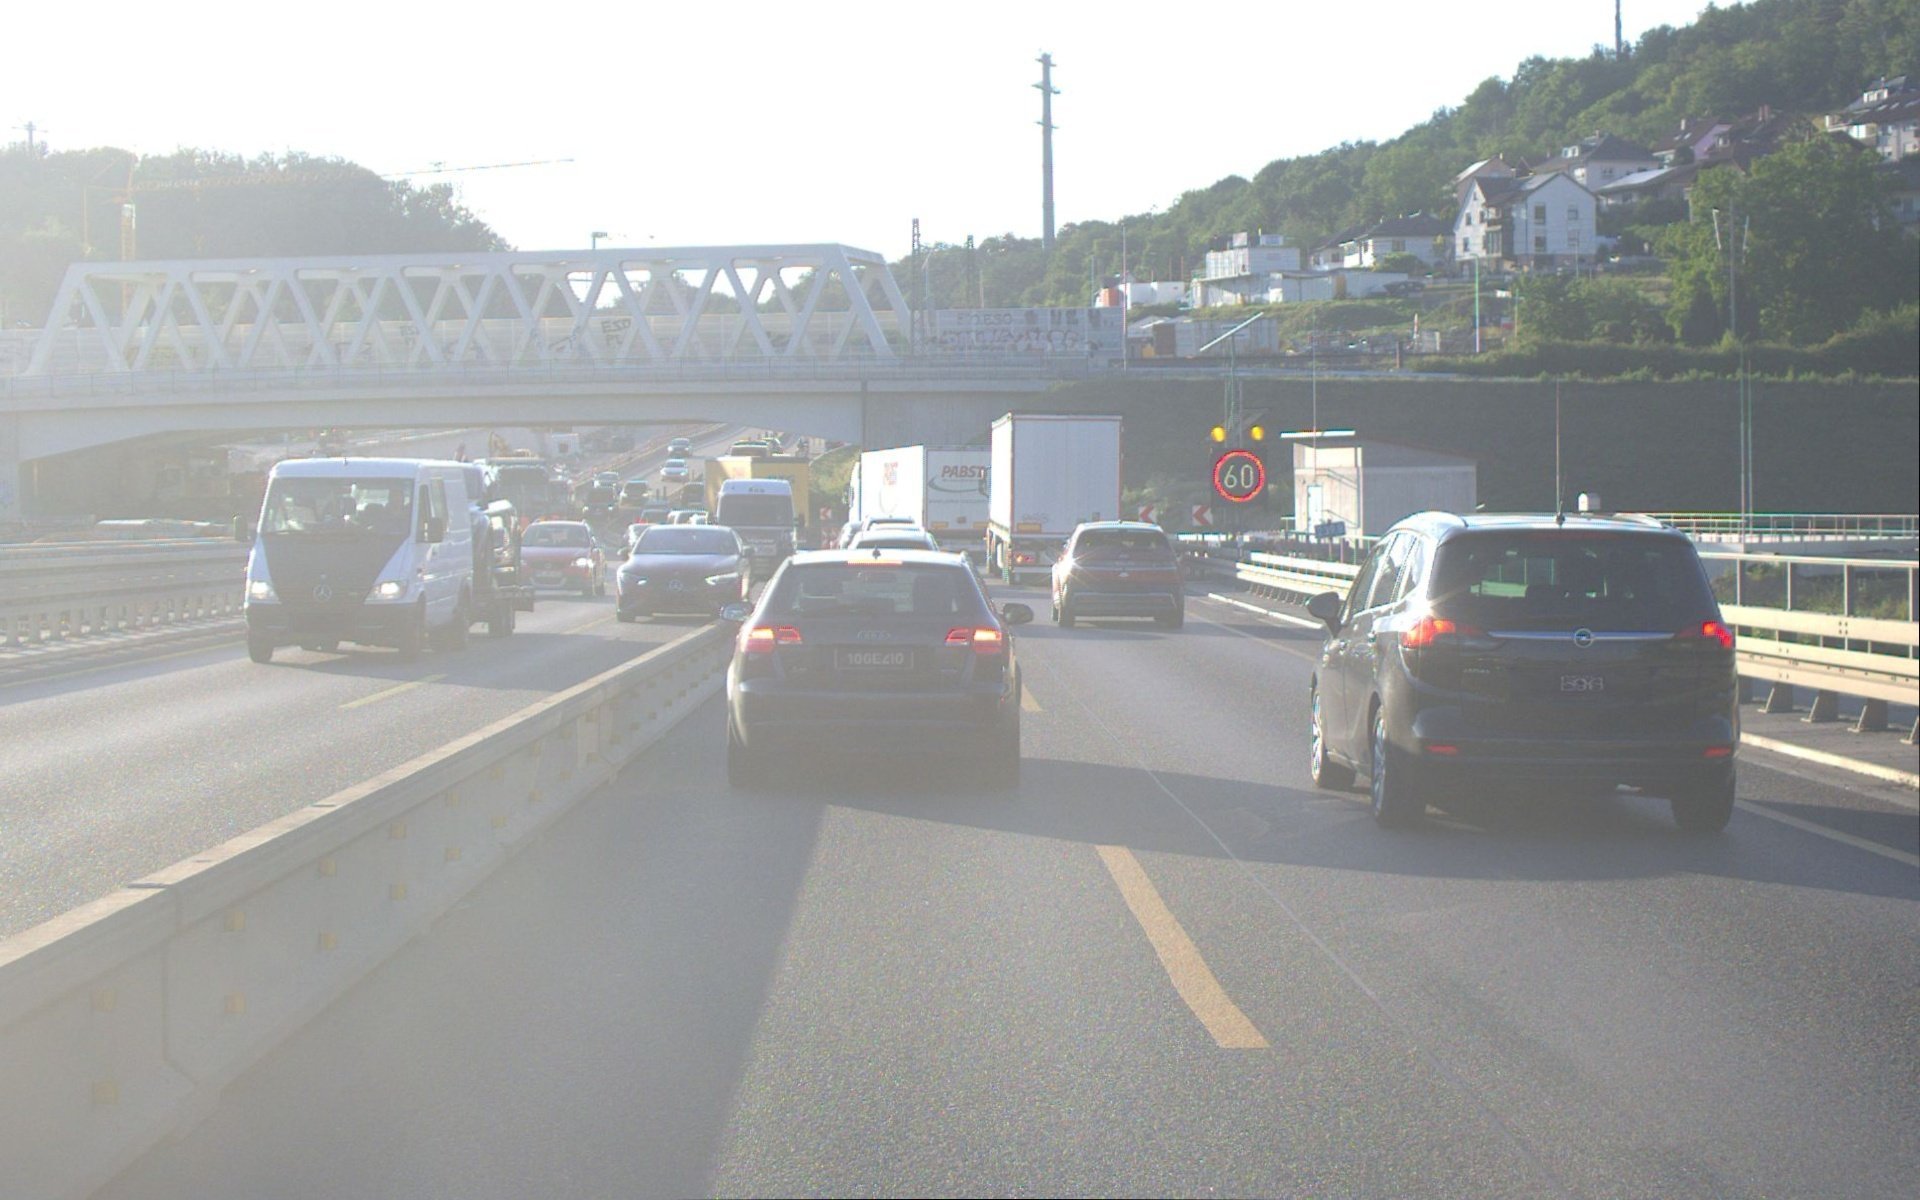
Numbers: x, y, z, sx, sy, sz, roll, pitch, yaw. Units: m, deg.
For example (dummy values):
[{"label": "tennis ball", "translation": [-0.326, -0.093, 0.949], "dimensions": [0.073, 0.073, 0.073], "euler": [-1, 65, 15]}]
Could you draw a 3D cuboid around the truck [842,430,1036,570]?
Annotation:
[{"label": "truck", "translation": [-0.944, -3.459, 119.651], "dimensions": [3.889, 4.483, 15.272], "euler": [1, 1, -11]}]

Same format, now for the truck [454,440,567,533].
[{"label": "truck", "translation": [-19.498, -4.907, 148.496], "dimensions": [2.930, 3.877, 10.267], "euler": [0, 2, -18]}]

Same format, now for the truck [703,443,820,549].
[{"label": "truck", "translation": [-9.155, -4.829, 156.400], "dimensions": [3.889, 4.482, 13.853], "euler": [1, 3, -9]}]

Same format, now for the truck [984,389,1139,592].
[{"label": "truck", "translation": [2.368, -2.642, 84.920], "dimensions": [3.385, 4.483, 15.267], "euler": [1, 1, 1]}]

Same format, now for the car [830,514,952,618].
[{"label": "car", "translation": [-1.095, -0.551, 52.869], "dimensions": [1.765, 1.481, 4.001], "euler": [2, 2, -2]}]

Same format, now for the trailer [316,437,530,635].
[{"label": "trailer", "translation": [-6.981, -0.867, 45.196], "dimensions": [2.076, 2.412, 5.219], "euler": [1, 2, -1]}]

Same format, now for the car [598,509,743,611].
[{"label": "car", "translation": [-4.567, -0.675, 54.918], "dimensions": [1.993, 1.525, 5.782], "euler": [1, 1, -2]}]

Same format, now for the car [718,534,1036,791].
[{"label": "car", "translation": [-0.529, 0.316, 21.410], "dimensions": [1.770, 1.385, 4.001], "euler": [1, 2, -2]}]

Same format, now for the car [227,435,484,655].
[{"label": "car", "translation": [-6.855, -0.665, 39.621], "dimensions": [1.993, 2.315, 5.935], "euler": [1, 1, -1]}]

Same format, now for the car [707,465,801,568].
[{"label": "car", "translation": [-5.123, -2.098, 86.193], "dimensions": [2.073, 2.449, 6.267], "euler": [1, 2, -1]}]

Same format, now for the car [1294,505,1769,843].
[{"label": "car", "translation": [3.009, 0.302, 19.009], "dimensions": [1.814, 1.626, 4.412], "euler": [1, 2, -1]}]

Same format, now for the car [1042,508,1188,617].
[{"label": "car", "translation": [2.357, -0.606, 53.129], "dimensions": [1.769, 1.547, 4.001], "euler": [2, 2, -4]}]

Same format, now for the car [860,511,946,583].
[{"label": "car", "translation": [-1.222, -1.182, 75.108], "dimensions": [1.765, 1.481, 4.000], "euler": [2, 2, 0]}]

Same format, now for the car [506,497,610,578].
[{"label": "car", "translation": [-7.918, -1.251, 68.029], "dimensions": [1.616, 1.546, 4.088], "euler": [0, 1, -1]}]
